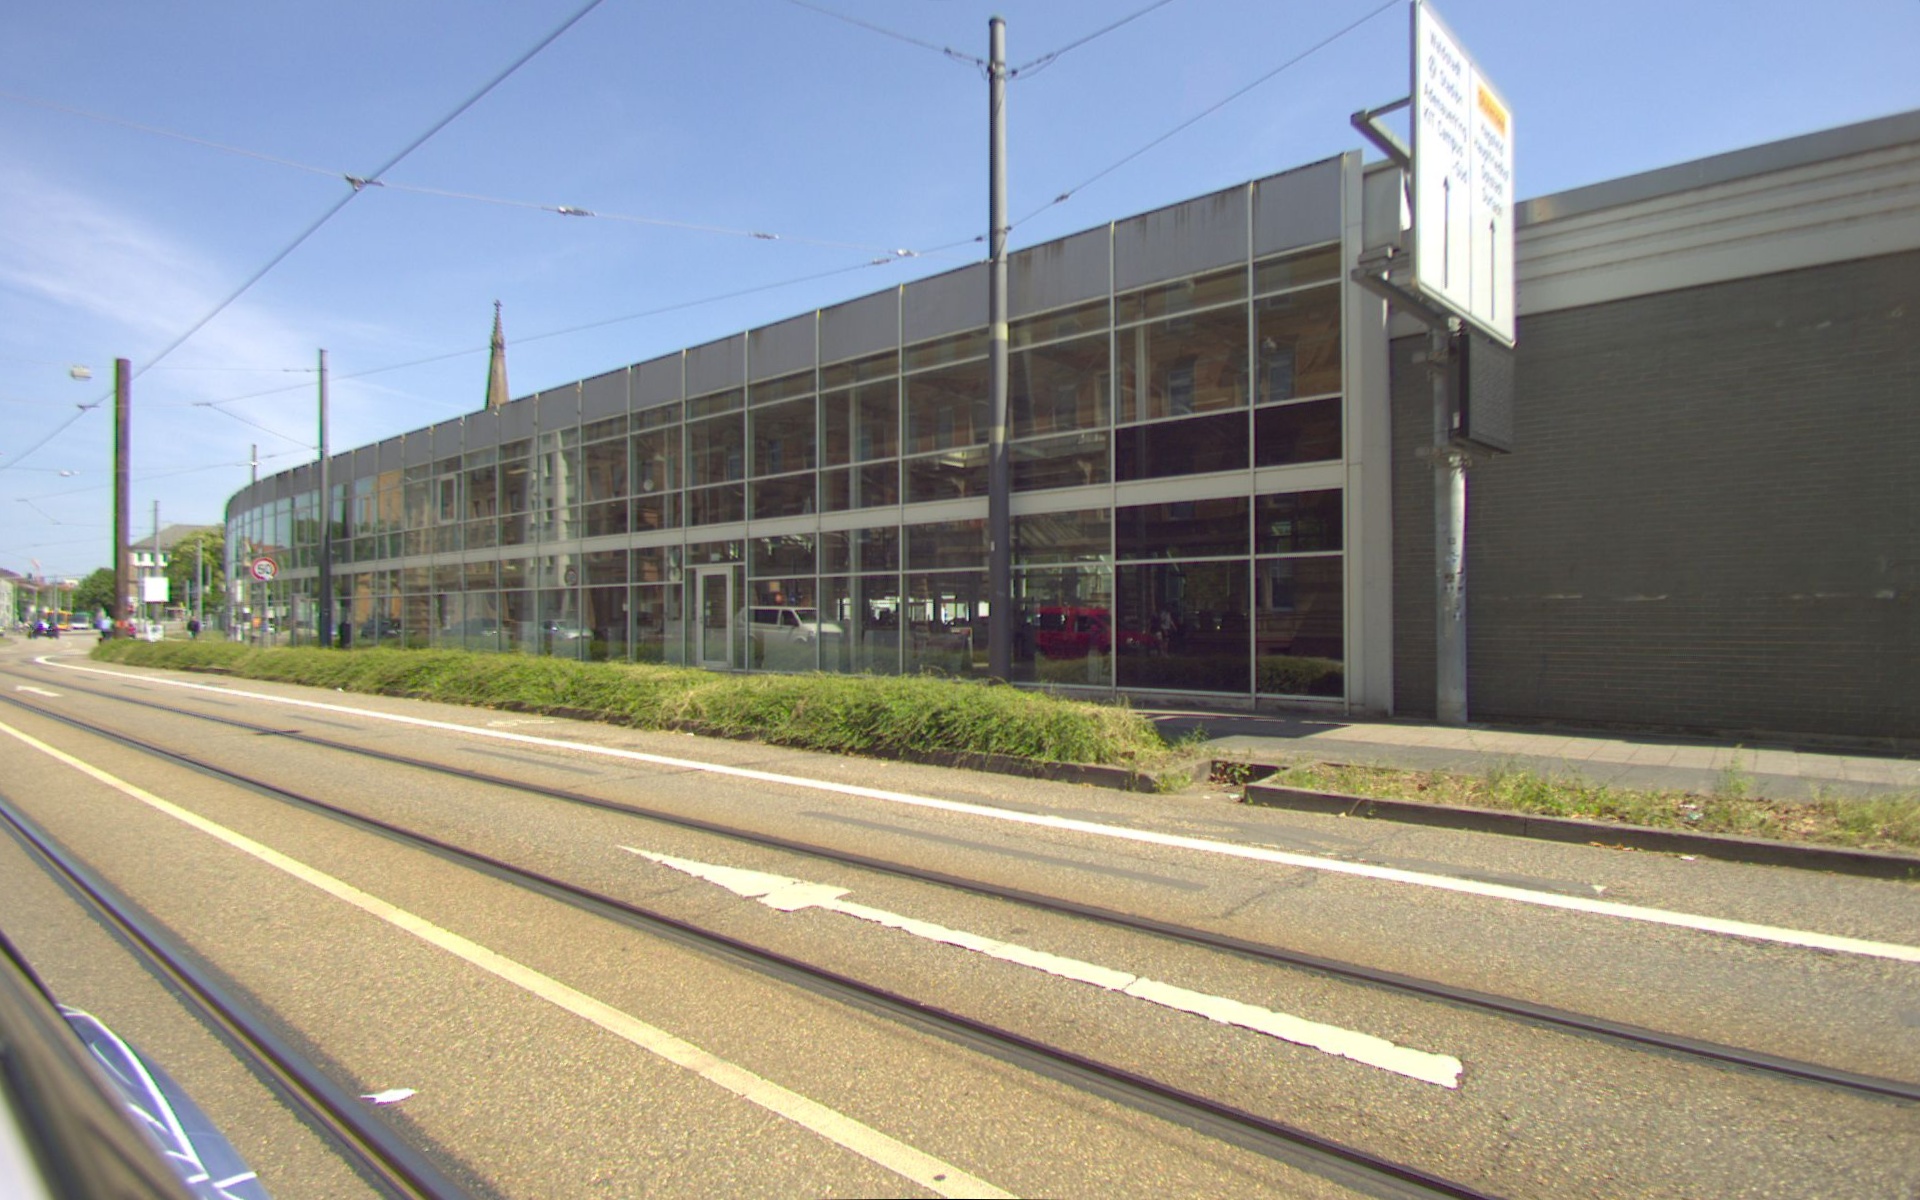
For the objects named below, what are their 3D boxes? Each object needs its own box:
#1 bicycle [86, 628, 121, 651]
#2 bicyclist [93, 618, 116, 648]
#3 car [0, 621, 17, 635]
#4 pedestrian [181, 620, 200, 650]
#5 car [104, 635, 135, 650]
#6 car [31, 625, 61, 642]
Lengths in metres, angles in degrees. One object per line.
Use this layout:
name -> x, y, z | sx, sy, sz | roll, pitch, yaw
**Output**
bicycle -> -44.979, 2.052, 53.175 | 0.688, 1.153, 2.504 | 0, -2, -24
bicyclist -> -44.978, 1.708, 53.215 | 0.688, 1.560, 0.983 | 0, -2, -24
car -> -107.120, 3.114, 113.063 | 5.128, 1.542, 1.973 | -1, -3, 41
pedestrian -> -42.915, 1.928, 56.433 | 0.820, 1.654, 0.719 | -2, -2, 44
car -> -81.939, 4.111, 98.640 | 4.288, 1.377, 1.739 | -2, -1, 42
car -> -88.413, 3.233, 97.892 | 4.526, 1.639, 1.801 | -2, -3, 44
